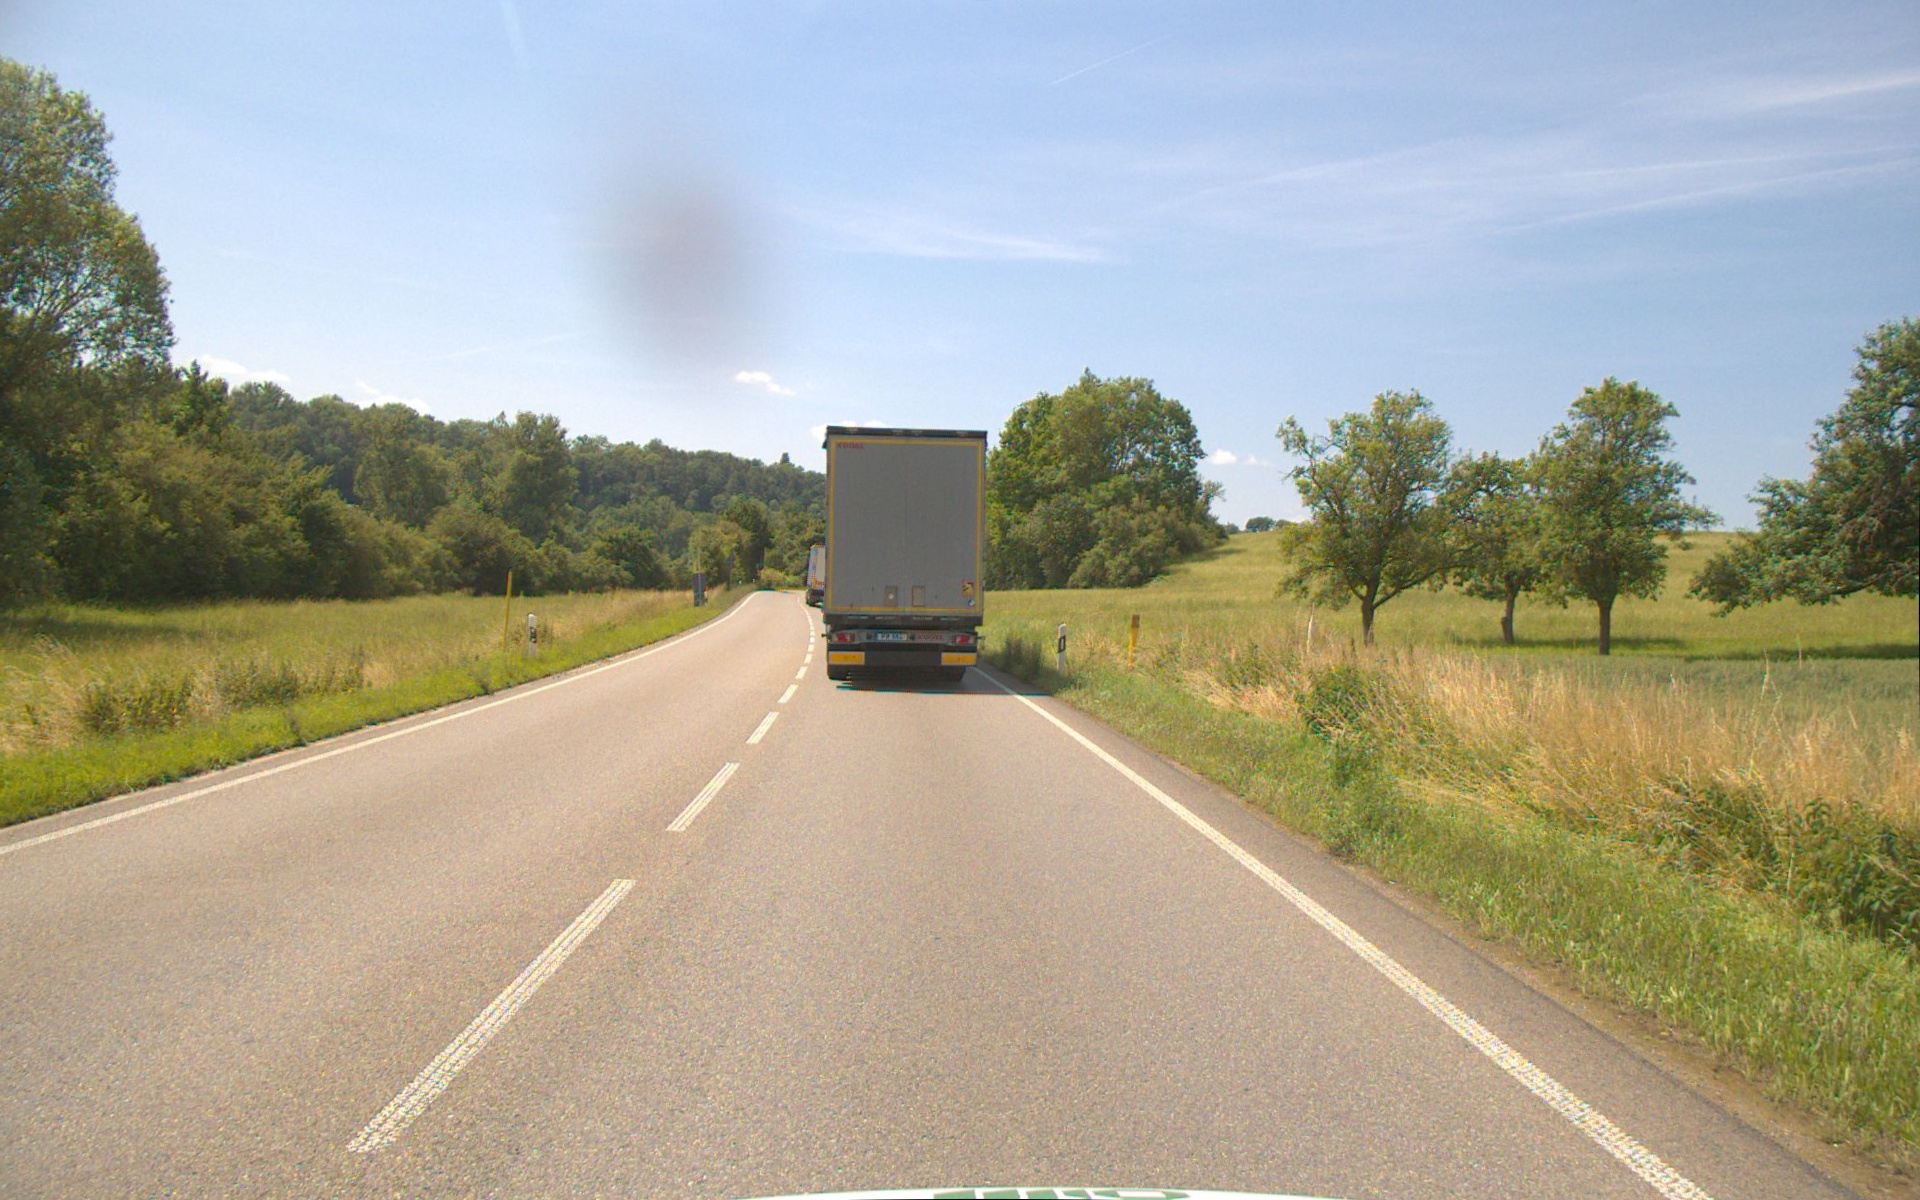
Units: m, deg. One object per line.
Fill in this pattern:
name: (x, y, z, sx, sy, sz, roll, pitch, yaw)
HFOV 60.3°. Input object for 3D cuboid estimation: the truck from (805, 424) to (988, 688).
truck: (-1.302, -0.708, 30.274, 2.752, 4.015, 9.583, 1, 0, -4)

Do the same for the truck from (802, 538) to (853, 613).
truck: (-9.274, -1.596, 113.923, 2.904, 4.664, 16.294, 3, 0, -6)
